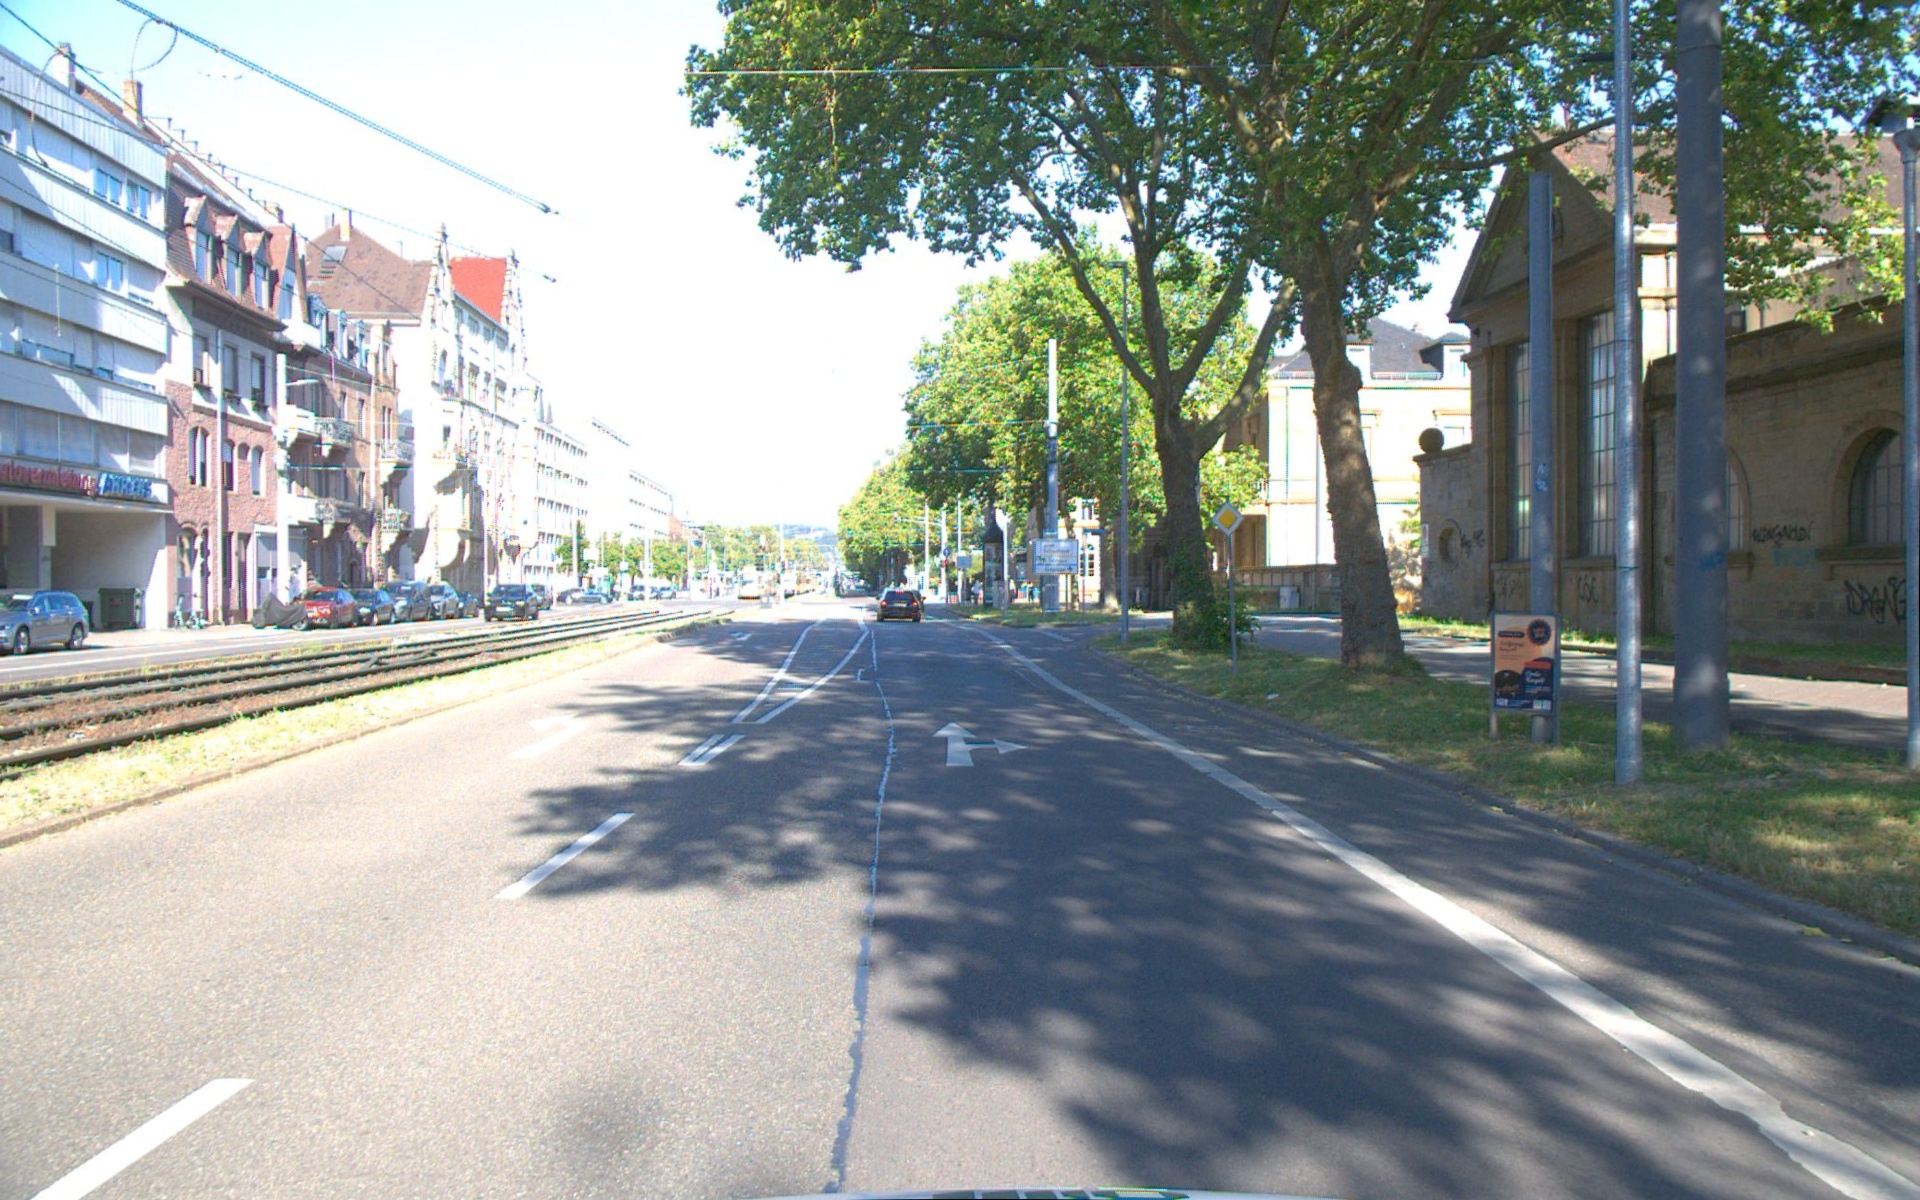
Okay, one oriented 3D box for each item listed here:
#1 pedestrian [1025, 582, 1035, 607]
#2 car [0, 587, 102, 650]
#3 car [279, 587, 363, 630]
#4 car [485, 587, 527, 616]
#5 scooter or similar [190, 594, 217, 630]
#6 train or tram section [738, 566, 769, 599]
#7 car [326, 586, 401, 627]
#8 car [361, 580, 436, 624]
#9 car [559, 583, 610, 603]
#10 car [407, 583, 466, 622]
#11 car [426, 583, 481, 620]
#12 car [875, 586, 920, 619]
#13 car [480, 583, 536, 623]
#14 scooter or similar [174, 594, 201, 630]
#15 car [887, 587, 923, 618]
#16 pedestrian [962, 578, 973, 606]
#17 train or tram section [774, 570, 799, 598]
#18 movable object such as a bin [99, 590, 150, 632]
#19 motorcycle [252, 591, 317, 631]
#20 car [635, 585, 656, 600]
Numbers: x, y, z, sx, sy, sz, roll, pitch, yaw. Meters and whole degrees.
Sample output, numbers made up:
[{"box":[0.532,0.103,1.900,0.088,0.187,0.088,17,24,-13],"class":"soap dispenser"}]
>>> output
[{"box":[5.019,-0.399,118.537,0.575,1.758,0.651,2,0,11],"class":"pedestrian"},{"box":[-22.624,0.407,39.796,1.797,1.415,4.678,0,0,-4],"class":"car"},{"box":[-24.080,0.294,62.453,1.759,1.485,4.262,3,0,-5],"class":"car"},{"box":[-26.291,0.093,95.840,1.761,1.536,3.993,3,0,-8],"class":"car"},{"box":[-26.529,0.426,57.996,0.383,1.226,1.199,2,0,-3],"class":"scooter or similar"},{"box":[-22.820,-1.909,183.144,2.769,3.511,9.057,0,0,-4],"class":"train or tram section"},{"box":[-24.249,0.253,67.367,1.759,1.536,3.997,3,0,-4],"class":"car"},{"box":[-24.506,0.073,72.351,1.758,1.784,4.454,3,0,-1],"class":"car"},{"box":[-30.281,-0.564,133.455,3.915,1.537,1.795,2,-1,-11],"class":"car"},{"box":[-24.808,0.104,78.496,1.653,1.681,4.196,3,0,-4],"class":"car"},{"box":[-25.420,0.057,83.092,1.653,1.681,4.196,3,0,-4],"class":"car"},{"box":[-2.784,0.093,72.945,1.797,1.415,4.155,0,0,-4],"class":"car"},{"box":[-19.508,0.091,71.519,1.603,1.629,4.154,-1,1,-6],"class":"car"},{"box":[-27.086,0.404,58.028,0.383,1.226,1.199,2,0,-3],"class":"scooter or similar"},{"box":[-2.805,0.131,83.934,1.758,1.537,3.997,0,0,-3],"class":"car"},{"box":[0.463,-0.494,103.727,0.575,1.758,0.650,2,0,9],"class":"pedestrian"},{"box":[-22.408,-2.077,214.050,2.769,3.511,9.059,0,0,-3],"class":"train or tram section"},{"box":[-28.437,0.369,56.311,1.386,1.395,0.634,0,0,-11],"class":"movable object such as a bin"},{"box":[-24.103,0.391,59.049,2.037,1.350,0.836,3,0,-20],"class":"motorcycle"},{"box":[-32.811,-0.780,172.616,1.760,1.536,3.995,0,0,-6],"class":"car"}]
